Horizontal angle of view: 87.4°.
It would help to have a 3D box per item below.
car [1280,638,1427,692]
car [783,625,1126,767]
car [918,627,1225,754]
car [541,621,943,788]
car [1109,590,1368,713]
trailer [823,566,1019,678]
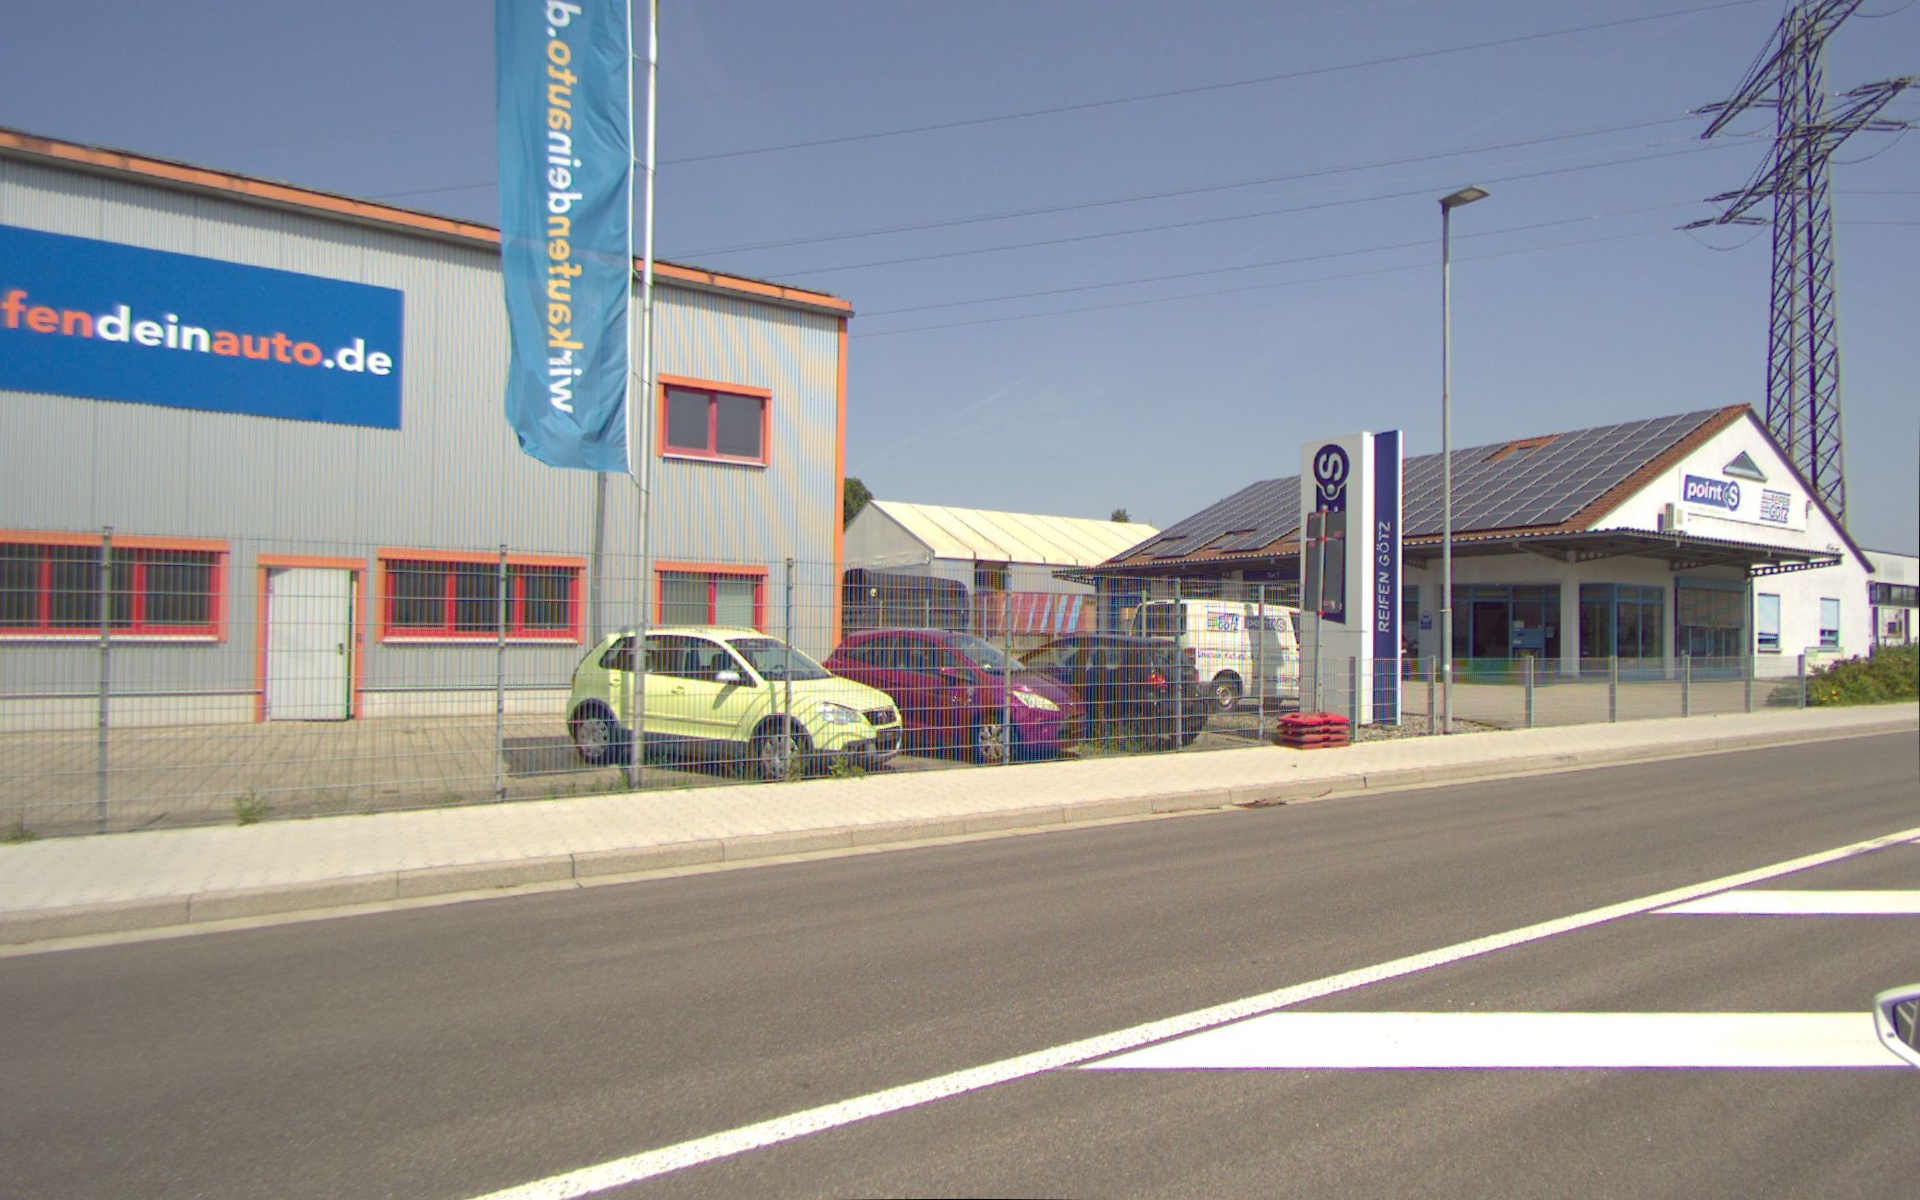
[{"bbox_3d":[11.793,1.912,30.351,1.761,1.505,3.973,1,-2,-27],"label":"car"},{"bbox_3d":[-0.087,1.079,12.536,3.926,1.513,1.742,0,-1,27],"label":"car"},{"bbox_3d":[1.498,1.145,14.022,3.933,1.513,1.739,-1,-2,34],"label":"car"},{"bbox_3d":[-2.366,1.005,10.885,4.016,1.513,1.743,0,-1,25],"label":"car"},{"bbox_3d":[5.201,0.962,18.642,4.625,2.040,1.985,2,-3,-30],"label":"car"},{"bbox_3d":[-1.050,0.651,28.139,5.066,2.886,2.151,2,-1,-31],"label":"trailer"}]
